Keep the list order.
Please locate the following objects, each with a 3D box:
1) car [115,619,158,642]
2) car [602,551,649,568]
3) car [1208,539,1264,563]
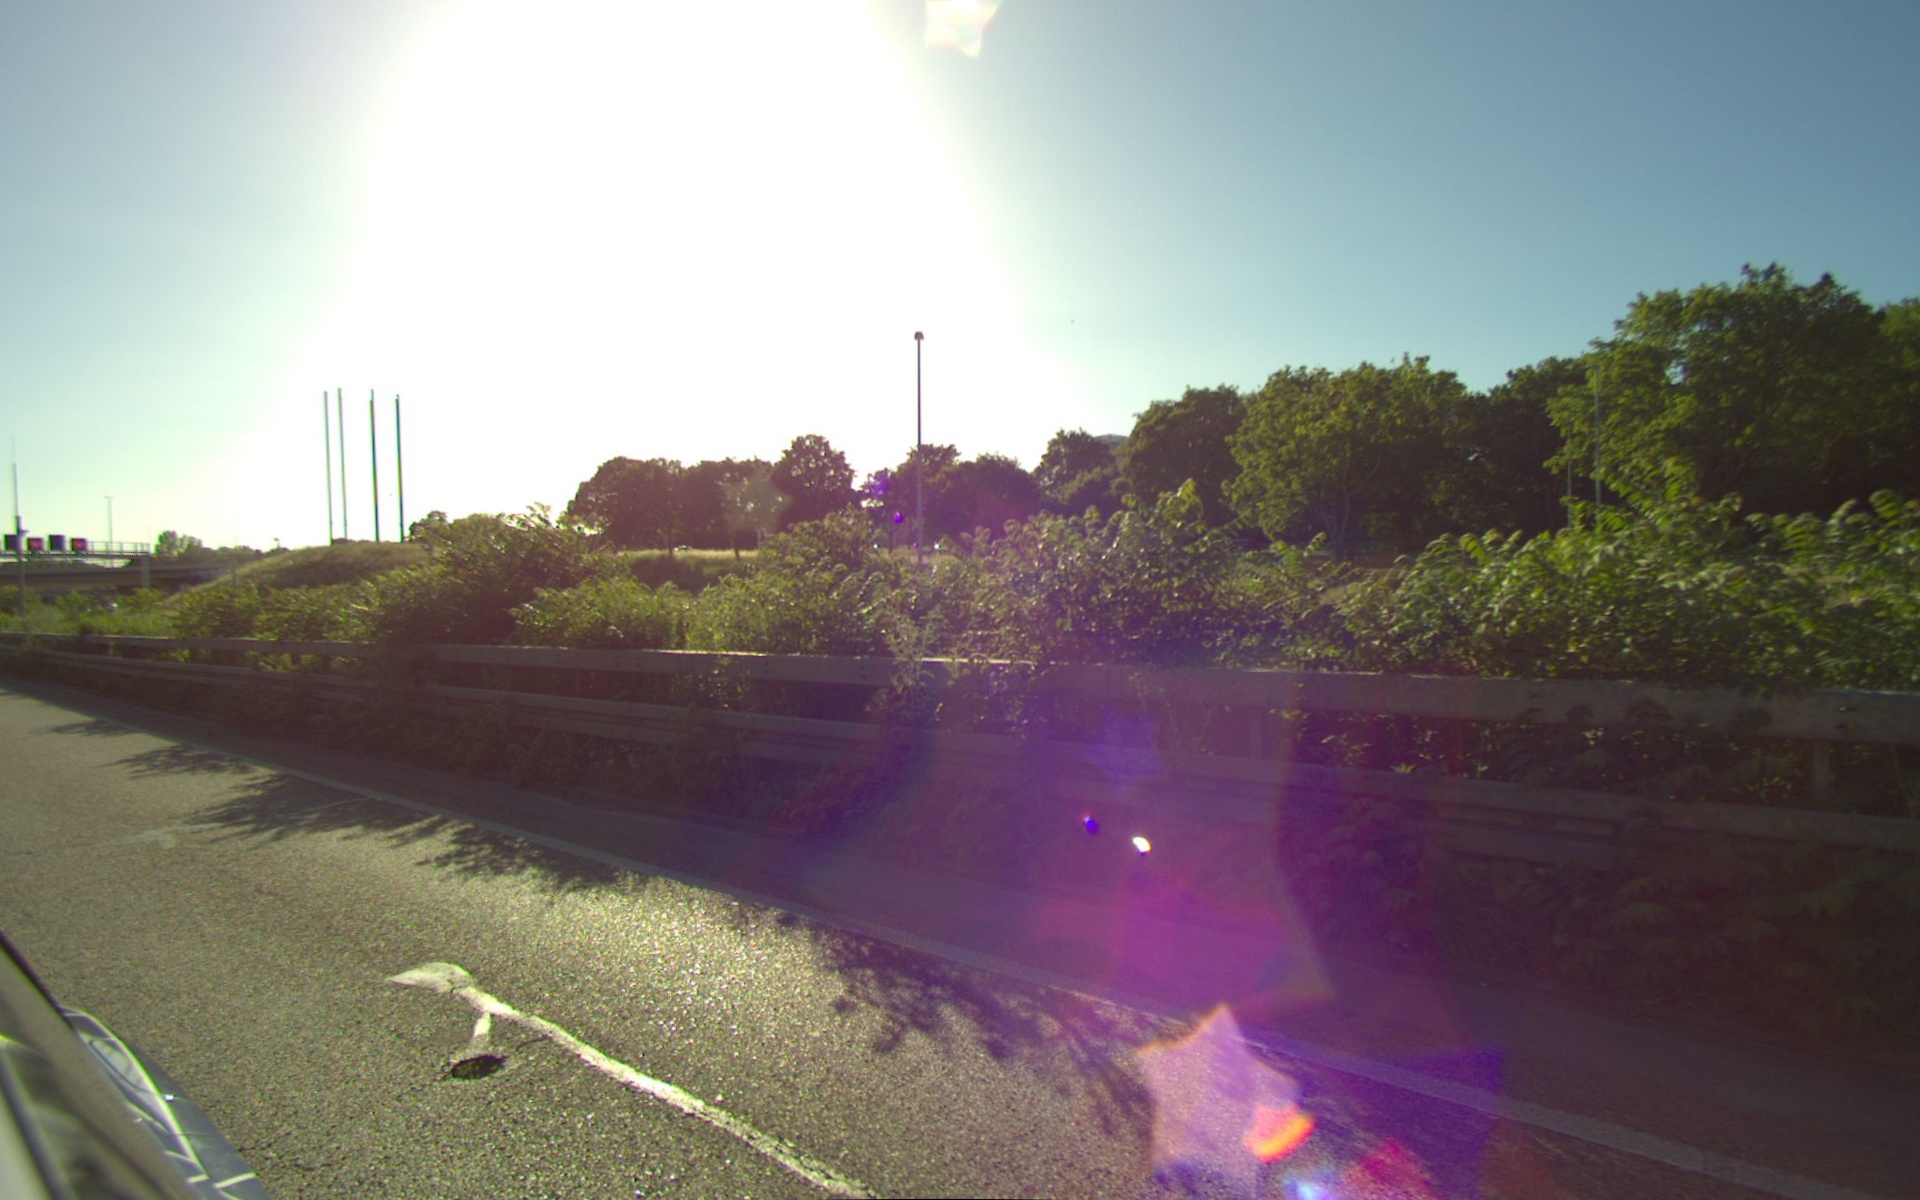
[{"bbox_3d":[-59.227,2.172,72.774,3.999,1.573,1.821,-2,-1,43],"label":"car"},{"bbox_3d":[-46.216,-5.520,139.873,6.061,2.029,2.528,-1,-1,25],"label":"car"},{"bbox_3d":[26.362,-4.639,96.775,1.967,2.029,4.950,-2,0,-36],"label":"car"}]
